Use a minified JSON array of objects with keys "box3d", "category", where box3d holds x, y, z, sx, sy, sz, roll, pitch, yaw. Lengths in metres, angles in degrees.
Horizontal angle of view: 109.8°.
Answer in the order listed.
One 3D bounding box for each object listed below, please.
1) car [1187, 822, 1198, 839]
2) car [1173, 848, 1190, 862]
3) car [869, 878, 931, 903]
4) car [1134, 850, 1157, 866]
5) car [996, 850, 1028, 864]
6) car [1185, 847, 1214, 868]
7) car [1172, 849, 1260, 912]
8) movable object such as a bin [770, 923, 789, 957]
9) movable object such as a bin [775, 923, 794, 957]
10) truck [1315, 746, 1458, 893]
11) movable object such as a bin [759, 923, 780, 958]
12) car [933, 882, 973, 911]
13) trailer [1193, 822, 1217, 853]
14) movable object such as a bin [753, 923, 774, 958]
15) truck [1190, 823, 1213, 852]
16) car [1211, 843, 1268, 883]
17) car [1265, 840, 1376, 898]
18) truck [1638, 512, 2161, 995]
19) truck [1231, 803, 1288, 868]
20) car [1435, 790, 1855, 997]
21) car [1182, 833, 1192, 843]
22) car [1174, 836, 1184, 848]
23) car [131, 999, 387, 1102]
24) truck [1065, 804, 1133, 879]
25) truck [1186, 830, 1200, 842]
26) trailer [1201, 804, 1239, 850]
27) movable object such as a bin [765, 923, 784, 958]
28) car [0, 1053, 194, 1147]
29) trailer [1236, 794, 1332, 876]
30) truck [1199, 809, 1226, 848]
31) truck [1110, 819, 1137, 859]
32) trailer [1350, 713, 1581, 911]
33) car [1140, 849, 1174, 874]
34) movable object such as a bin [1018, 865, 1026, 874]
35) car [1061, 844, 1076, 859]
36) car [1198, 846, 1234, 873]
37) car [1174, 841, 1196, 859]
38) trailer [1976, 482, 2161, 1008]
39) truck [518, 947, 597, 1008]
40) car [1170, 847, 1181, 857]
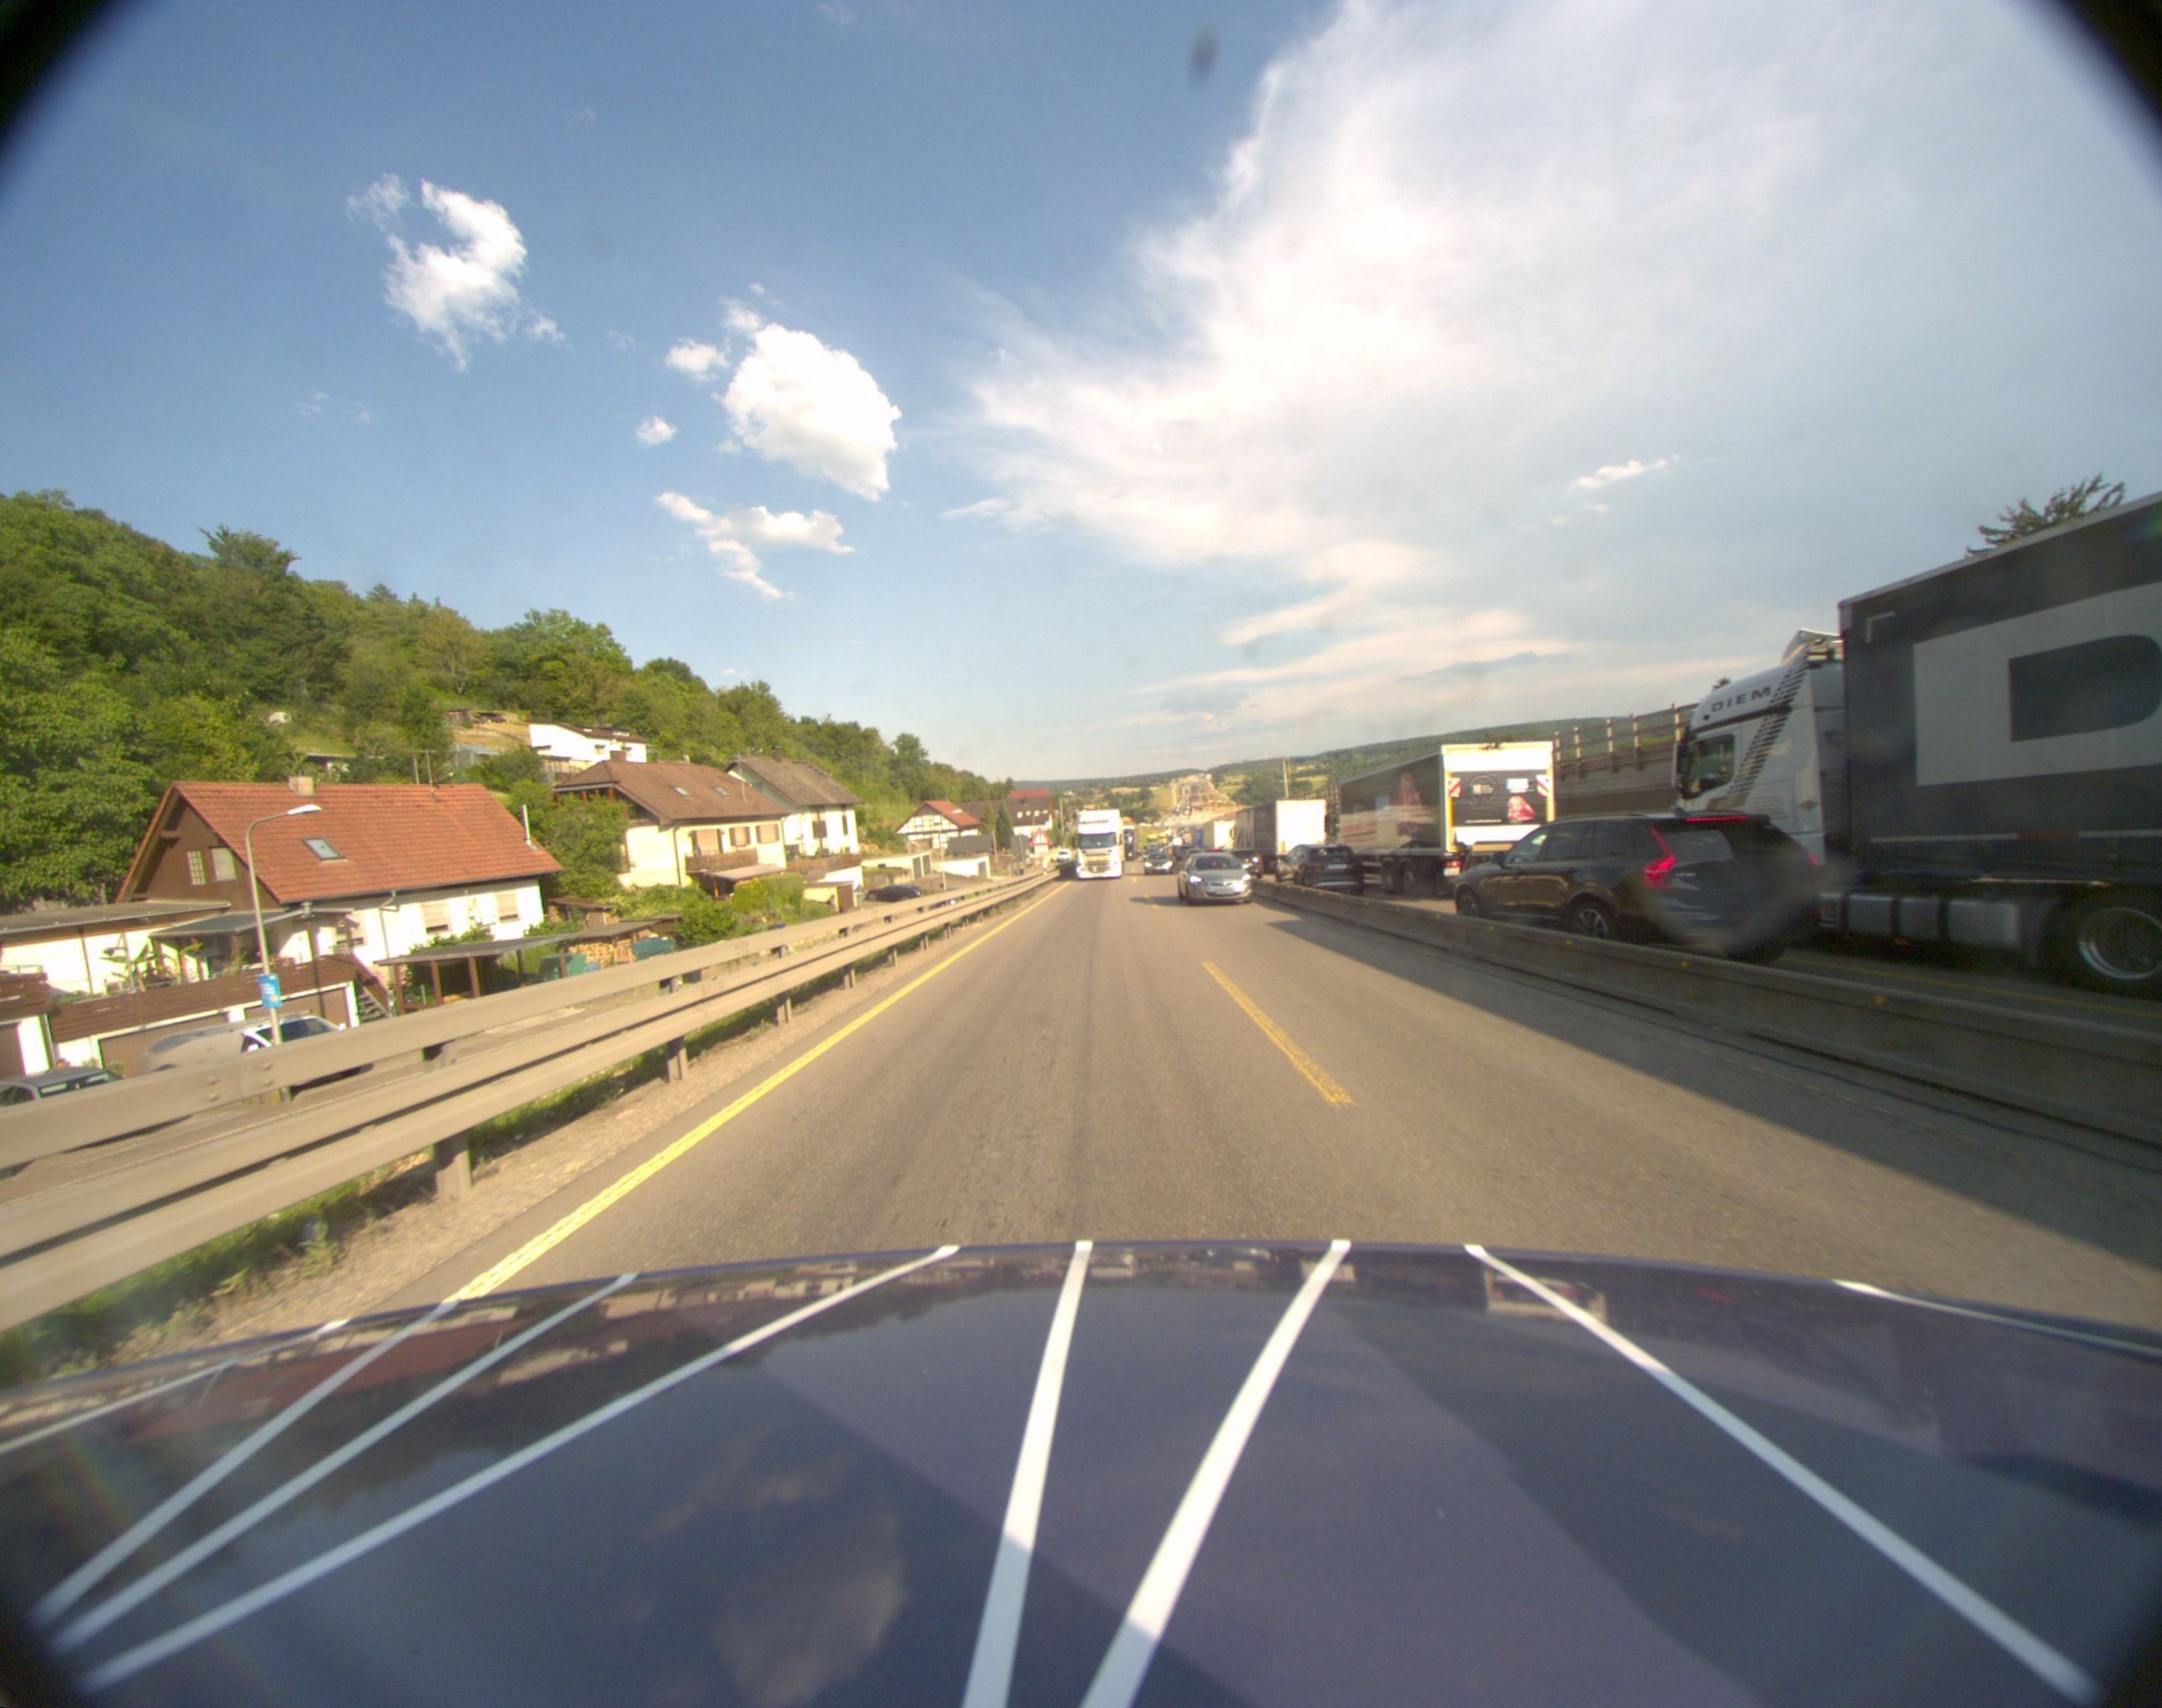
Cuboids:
[{"box3d":[38.200,-8.069,260.157,3.326,5.356,14.303,-1,1,8],"category":"car"},{"box3d":[13.626,0.146,103.176,1.885,1.598,4.731,-4,1,4],"category":"car"},{"box3d":[-14.910,2.970,62.811,4.501,1.517,2.000,4,4,9],"category":"car"},{"box3d":[7.000,0.456,83.032,1.999,1.565,3.998,-2,1,-2],"category":"car"},{"box3d":[-9.399,0.353,103.416,3.994,1.829,1.750,0,3,7],"category":"car"},{"box3d":[9.701,0.254,62.521,1.778,1.448,4.814,-3,2,3],"category":"car"},{"box3d":[3.771,0.681,21.858,1.810,1.478,4.118,-3,1,2],"category":"car"},{"box3d":[-16.456,4.692,41.503,0.490,1.760,0.414,-12,1,14],"category":"movable object such as a bin"},{"box3d":[-16.343,4.728,41.919,0.490,1.760,0.414,-12,1,14],"category":"movable object such as a bin"},{"box3d":[10.331,-1.123,26.295,2.926,4.489,5.027,-2,1,2],"category":"truck"},{"box3d":[-16.672,4.623,40.668,0.536,1.760,0.409,-12,1,14],"category":"movable object such as a bin"},{"box3d":[-9.884,3.257,58.855,1.771,1.590,3.616,-9,3,10],"category":"car"},{"box3d":[17.773,-2.369,109.018,2.821,4.082,8.288,-2,1,6],"category":"trailer"},{"box3d":[-16.810,4.568,40.253,0.530,1.760,0.416,-12,1,14],"category":"movable object such as a bin"},{"box3d":[18.699,-2.564,118.407,2.821,4.234,10.583,-2,1,6],"category":"truck"},{"box3d":[7.685,0.393,37.291,1.867,1.577,4.745,-5,2,3],"category":"car"},{"box3d":[7.308,0.374,23.823,1.881,1.596,5.368,0,1,1],"category":"car"},{"box3d":[9.816,-0.885,8.985,2.756,4.091,5.029,-1,1,0],"category":"truck"},{"box3d":[12.267,-1.276,52.634,2.770,4.179,6.115,-2,1,3],"category":"truck"},{"box3d":[6.610,0.321,9.815,1.837,1.952,4.898,-2,2,1],"category":"car"},{"box3d":[25.412,-3.830,182.754,2.213,2.011,3.974,-5,1,7],"category":"car"},{"box3d":[22.248,-2.691,172.324,2.000,2.601,5.615,-1,1,6],"category":"car"},{"box3d":[-23.070,5.505,21.425,5.477,2.251,2.000,-3,3,8],"category":"car"},{"box3d":[1.448,-0.843,48.610,2.891,4.059,13.897,-2,1,7],"category":"truck"},{"box3d":[28.736,-4.599,195.098,3.241,3.128,6.490,-2,1,5],"category":"truck"},{"box3d":[14.333,-2.699,79.249,2.461,4.295,13.776,-2,1,5],"category":"trailer"},{"box3d":[-16.564,4.684,41.094,0.490,1.760,0.414,-12,1,14],"category":"movable object such as a bin"},{"box3d":[-24.124,5.734,17.854,5.100,1.548,1.716,-3,3,8],"category":"car"},{"box3d":[11.884,-1.126,46.067,2.782,4.179,13.833,-2,1,3],"category":"trailer"},{"box3d":[15.006,-2.895,87.287,2.461,4.291,5.474,-2,1,5],"category":"truck"},{"box3d":[5.241,-1.731,92.100,2.787,4.505,7.192,-4,0,4],"category":"truck"},{"box3d":[10.207,-1.026,21.230,2.918,4.440,7.152,-3,1,2],"category":"trailer"},{"box3d":[4.789,0.464,48.280,1.823,1.433,4.000,-3,0,2],"category":"car"},{"box3d":[-6.931,1.794,89.402,0.723,0.995,0.677,-4,2,6],"category":"movable object such as a bin"},{"box3d":[-1.837,-0.341,113.226,1.823,1.931,4.284,-3,3,5],"category":"car"},{"box3d":[8.983,0.355,50.821,1.771,1.542,4.478,-3,2,3],"category":"car"},{"box3d":[11.525,-0.476,84.345,2.012,1.645,4.974,-4,1,4],"category":"car"},{"box3d":[9.749,-0.805,0.904,2.721,4.099,12.490,-1,1,1],"category":"trailer"},{"box3d":[-21.757,5.038,31.542,2.002,1.729,3.990,-12,6,-41],"category":"truck"},{"box3d":[15.649,-0.295,126.003,1.702,1.567,4.370,-2,1,6],"category":"car"}]
